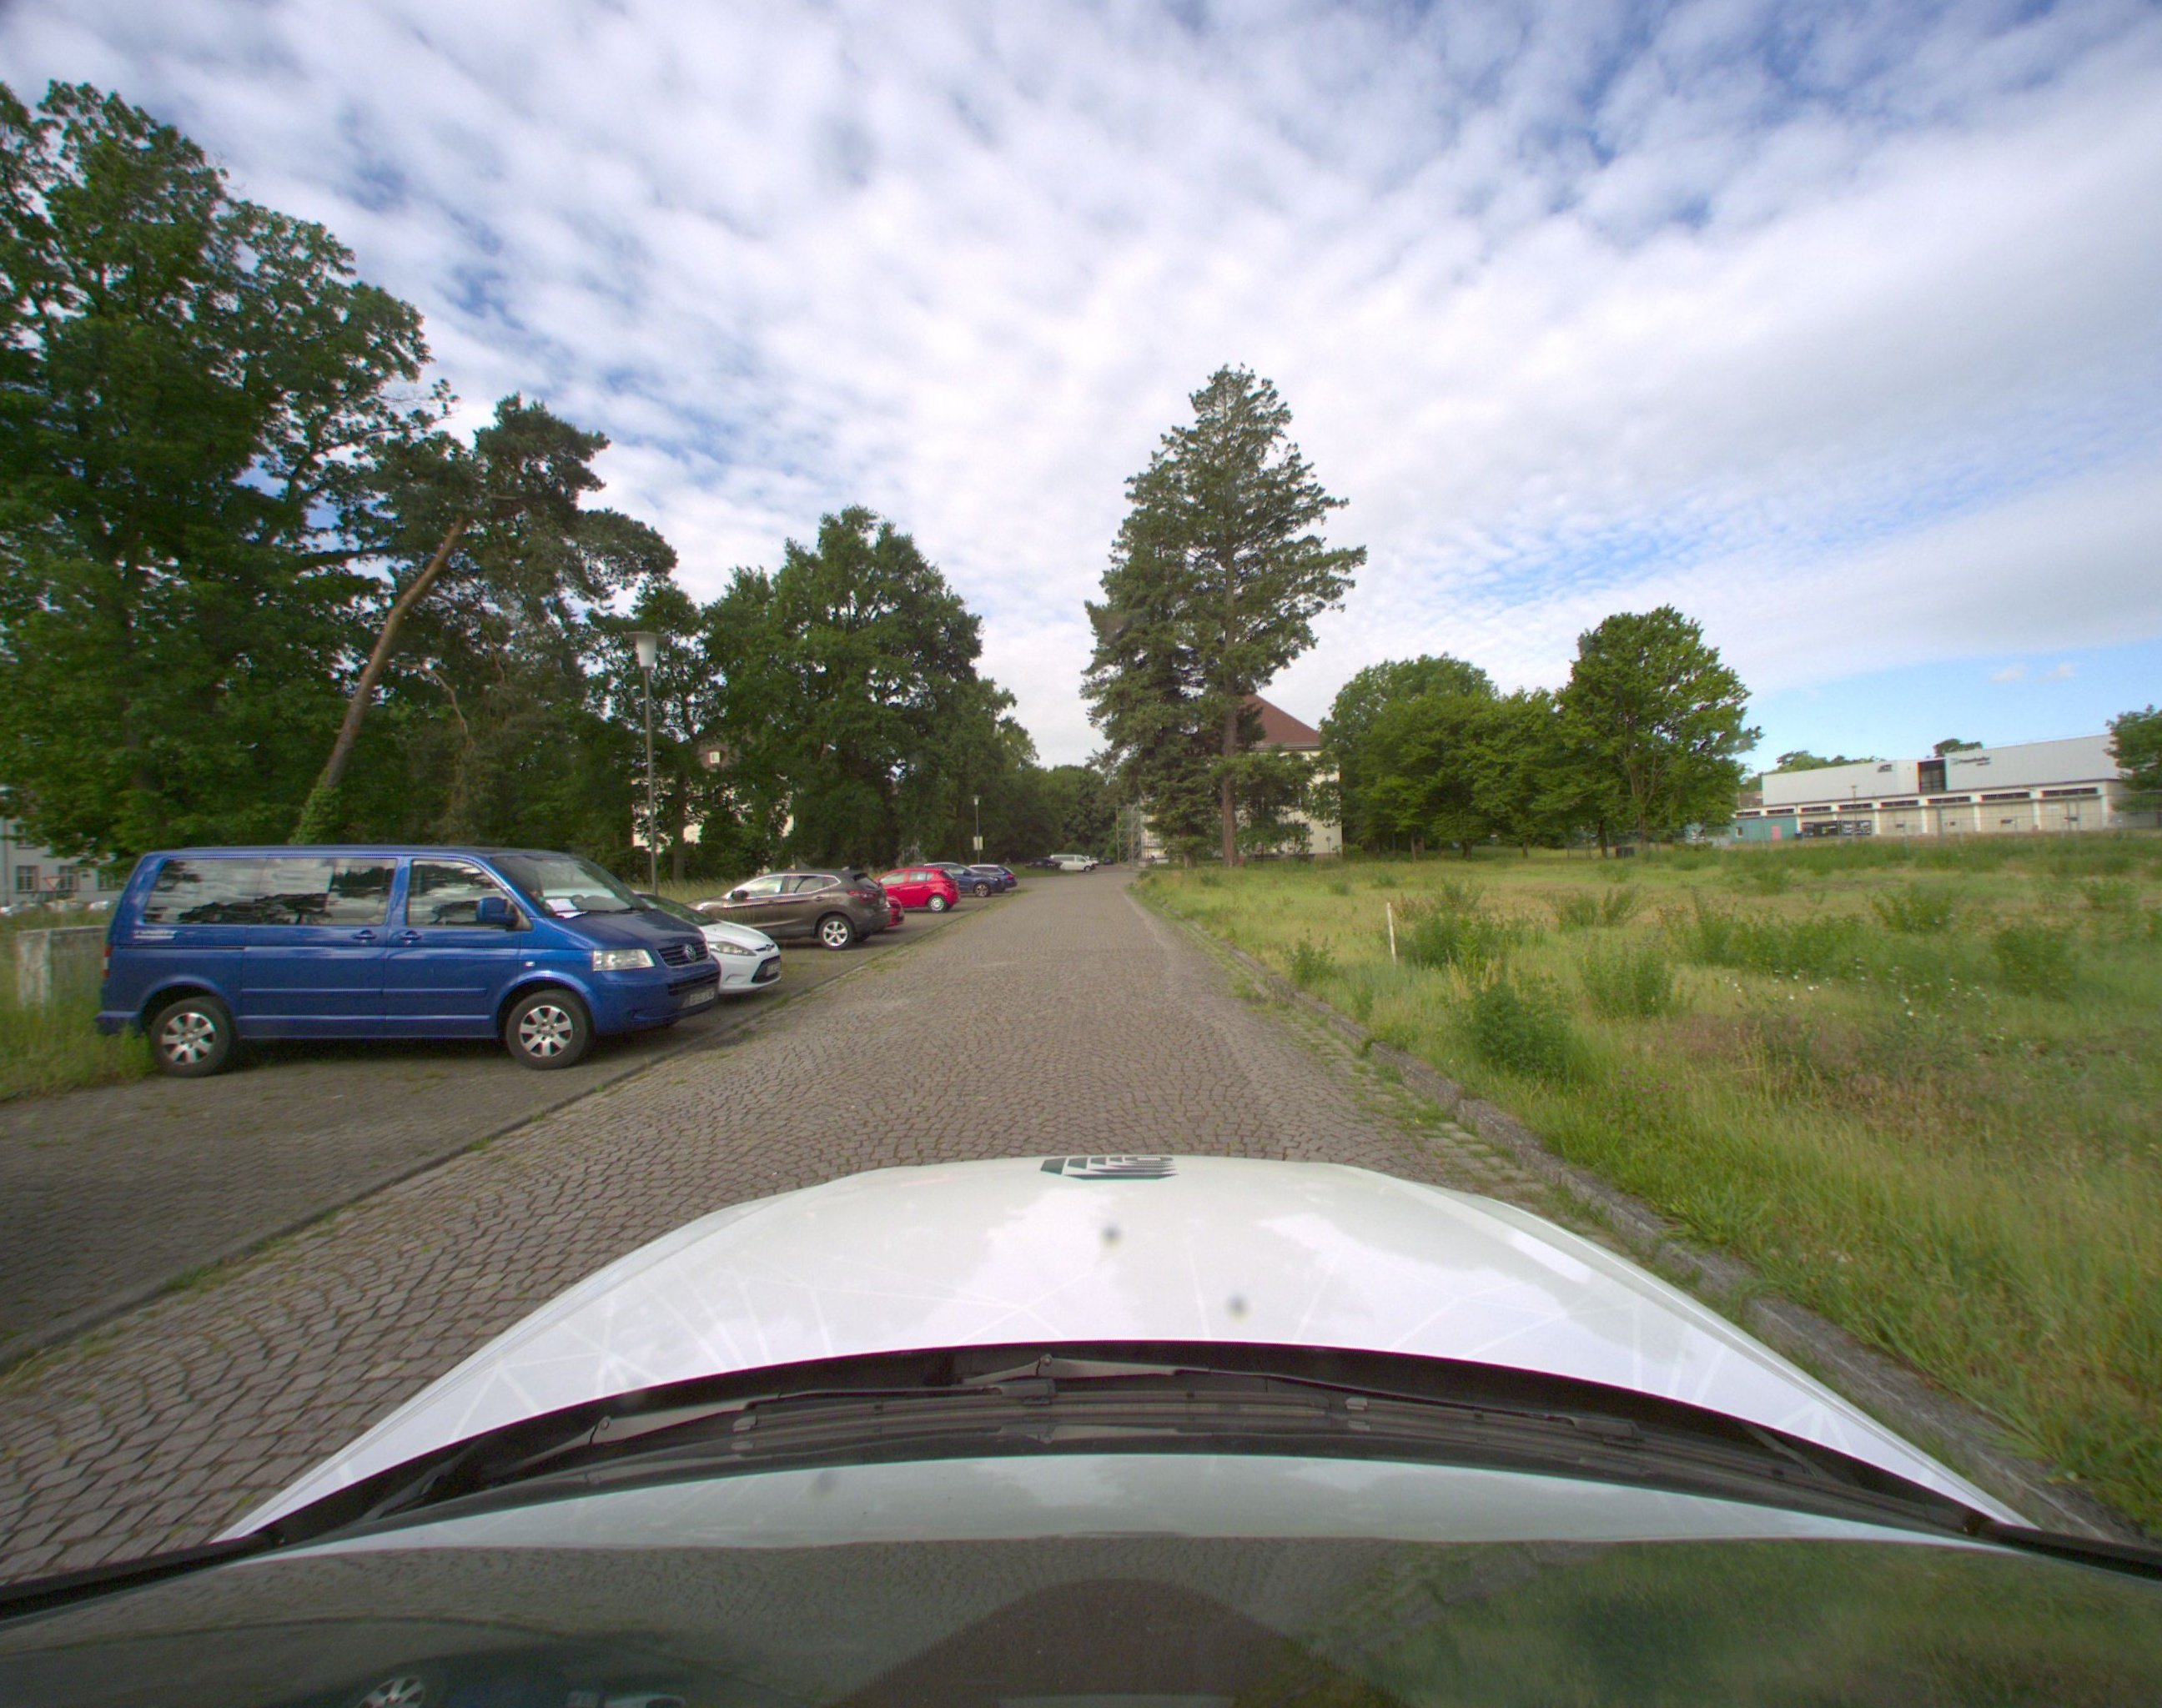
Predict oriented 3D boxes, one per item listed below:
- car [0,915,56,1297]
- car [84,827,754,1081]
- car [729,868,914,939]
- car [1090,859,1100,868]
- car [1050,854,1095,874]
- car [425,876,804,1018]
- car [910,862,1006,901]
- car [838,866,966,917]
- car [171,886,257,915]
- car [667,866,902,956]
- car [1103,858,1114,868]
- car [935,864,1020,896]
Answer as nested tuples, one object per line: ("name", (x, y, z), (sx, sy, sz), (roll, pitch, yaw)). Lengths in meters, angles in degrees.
("car", (-6.341, 1.069, 2.542), (3.990, 1.501, 1.843), (-2, 0, 2))
("car", (-5.944, 0.837, 7.843), (4.695, 1.980, 2.038), (-2, 0, -1))
("car", (-6.106, 1.146, 19.499), (3.803, 1.486, 1.761), (-2, 0, 0))
("car", (2.651, 1.869, 156.974), (1.785, 1.636, 4.059), (-2, -2, -1))
("car", (-0.934, 1.163, 90.943), (4.963, 2.073, 2.051), (-1, -2, -1))
("car", (-5.748, 1.108, 10.418), (3.784, 1.493, 1.725), (-2, 0, -2))
("car", (-5.564, 1.215, 37.277), (4.059, 1.604, 1.787), (-2, 0, -1))
("car", (-5.871, 1.213, 27.026), (3.804, 1.489, 1.787), (-2, 0, -1))
("car", (-68.371, 3.613, 64.334), (2.055, 2.095, 4.344), (-3, -2, 0))
("car", (-5.938, 1.111, 16.712), (4.056, 1.575, 1.954), (-2, 0, -1))
("car", (5.267, 1.726, 157.293), (1.785, 1.720, 4.059), (-2, -2, -1))
("car", (-5.293, 1.344, 41.972), (4.053, 1.467, 1.627), (-2, 0, 4))
